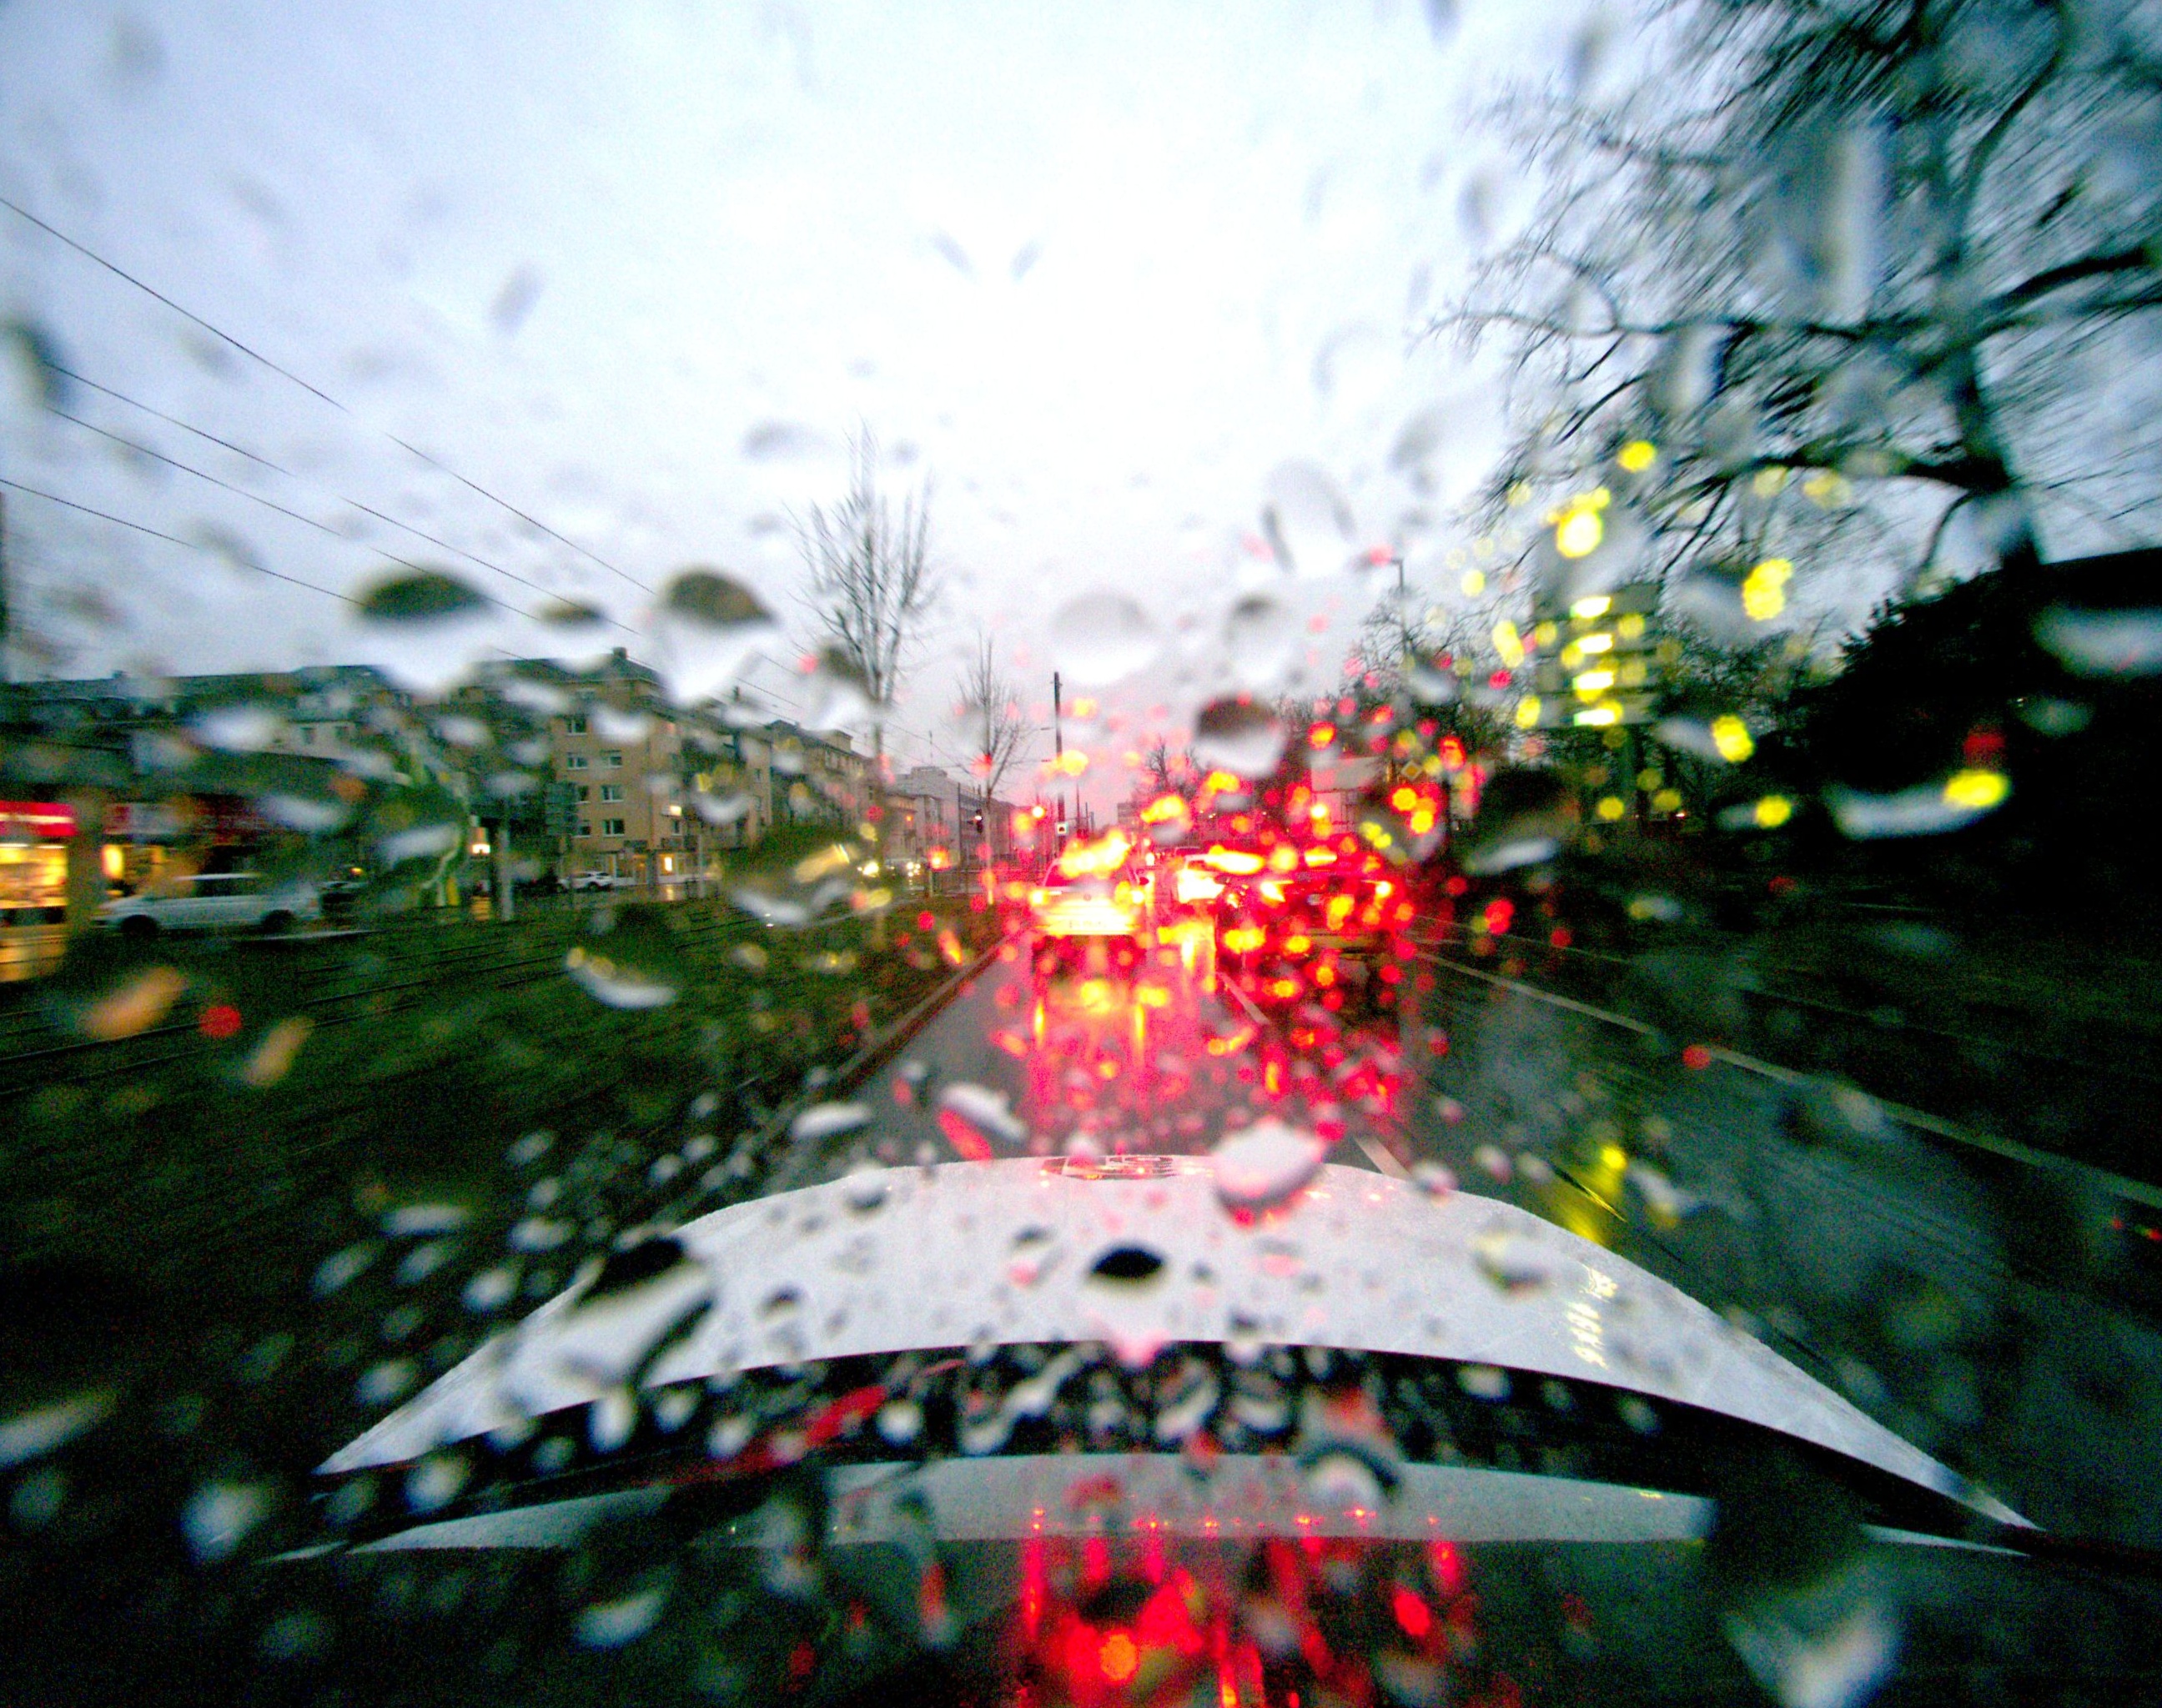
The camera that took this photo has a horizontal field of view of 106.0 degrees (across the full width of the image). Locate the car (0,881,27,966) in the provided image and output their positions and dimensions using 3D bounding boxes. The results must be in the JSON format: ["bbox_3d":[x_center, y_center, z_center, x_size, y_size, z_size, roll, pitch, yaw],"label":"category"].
[{"bbox_3d":[-27.457,1.698,17.509,1.983,2.046,5.576,0,0,7],"label":"car"}]

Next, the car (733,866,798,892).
[{"bbox_3d":[-18.076,1.399,46.869,1.852,1.332,4.318,0,0,2],"label":"car"}]

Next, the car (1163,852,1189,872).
[{"bbox_3d":[7.454,0.594,64.172,1.731,1.419,3.705,-2,0,2],"label":"car"}]

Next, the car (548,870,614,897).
[{"bbox_3d":[-37.824,2.192,61.665,3.743,1.942,1.839,0,0,-6],"label":"car"}]

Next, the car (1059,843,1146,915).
[{"bbox_3d":[0.559,0.523,19.600,1.792,1.466,4.589,-2,0,3],"label":"car"}]

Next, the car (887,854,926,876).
[{"bbox_3d":[-13.269,0.804,62.131,1.986,1.602,4.001,0,0,1],"label":"car"}]

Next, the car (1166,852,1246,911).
[{"bbox_3d":[3.256,0.678,21.751,1.738,1.433,3.734,0,0,3],"label":"car"}]

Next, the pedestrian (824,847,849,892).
[{"bbox_3d":[-11.317,0.722,37.642,1.007,2.013,0.956,-2,0,-19],"label":"pedestrian"}]

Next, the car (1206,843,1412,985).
[{"bbox_3d":[2.817,0.659,10.935,1.793,1.511,3.898,-2,0,2],"label":"car"}]

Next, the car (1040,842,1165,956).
[{"bbox_3d":[0.304,0.608,13.148,1.687,1.533,4.000,-1,0,0],"label":"car"}]

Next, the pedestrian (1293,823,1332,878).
[{"bbox_3d":[8.711,-0.128,30.687,0.962,2.013,1.001,-2,0,-20],"label":"pedestrian"}]

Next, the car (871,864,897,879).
[{"bbox_3d":[-18.498,1.651,76.536,1.687,1.277,4.142,-2,0,-4],"label":"car"}]

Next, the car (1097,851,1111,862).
[{"bbox_3d":[3.144,0.351,108.964,1.731,1.419,3.806,-2,0,2],"label":"car"}]

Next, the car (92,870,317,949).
[{"bbox_3d":[-28.330,1.698,26.628,4.859,2.244,1.976,0,0,-44],"label":"car"}]

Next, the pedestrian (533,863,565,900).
[{"bbox_3d":[-29.928,1.528,45.831,1.274,2.013,1.000,-2,0,-22],"label":"pedestrian"}]

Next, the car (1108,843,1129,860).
[{"bbox_3d":[3.289,-0.215,70.836,1.731,1.419,4.396,-2,0,3],"label":"car"}]

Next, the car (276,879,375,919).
[{"bbox_3d":[-42.484,2.495,45.911,1.886,2.014,3.877,0,0,2],"label":"car"}]

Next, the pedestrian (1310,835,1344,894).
[{"bbox_3d":[8.610,0.366,28.545,0.953,2.013,1.010,-2,0,10],"label":"pedestrian"}]

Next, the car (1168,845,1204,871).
[{"bbox_3d":[6.209,0.222,48.430,1.731,1.419,3.705,-2,0,2],"label":"car"}]

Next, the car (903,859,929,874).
[{"bbox_3d":[-18.030,1.315,89.144,1.942,1.602,4.003,0,0,3],"label":"car"}]

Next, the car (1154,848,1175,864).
[{"bbox_3d":[8.251,0.194,80.859,1.731,1.419,4.149,-2,0,3],"label":"car"}]
